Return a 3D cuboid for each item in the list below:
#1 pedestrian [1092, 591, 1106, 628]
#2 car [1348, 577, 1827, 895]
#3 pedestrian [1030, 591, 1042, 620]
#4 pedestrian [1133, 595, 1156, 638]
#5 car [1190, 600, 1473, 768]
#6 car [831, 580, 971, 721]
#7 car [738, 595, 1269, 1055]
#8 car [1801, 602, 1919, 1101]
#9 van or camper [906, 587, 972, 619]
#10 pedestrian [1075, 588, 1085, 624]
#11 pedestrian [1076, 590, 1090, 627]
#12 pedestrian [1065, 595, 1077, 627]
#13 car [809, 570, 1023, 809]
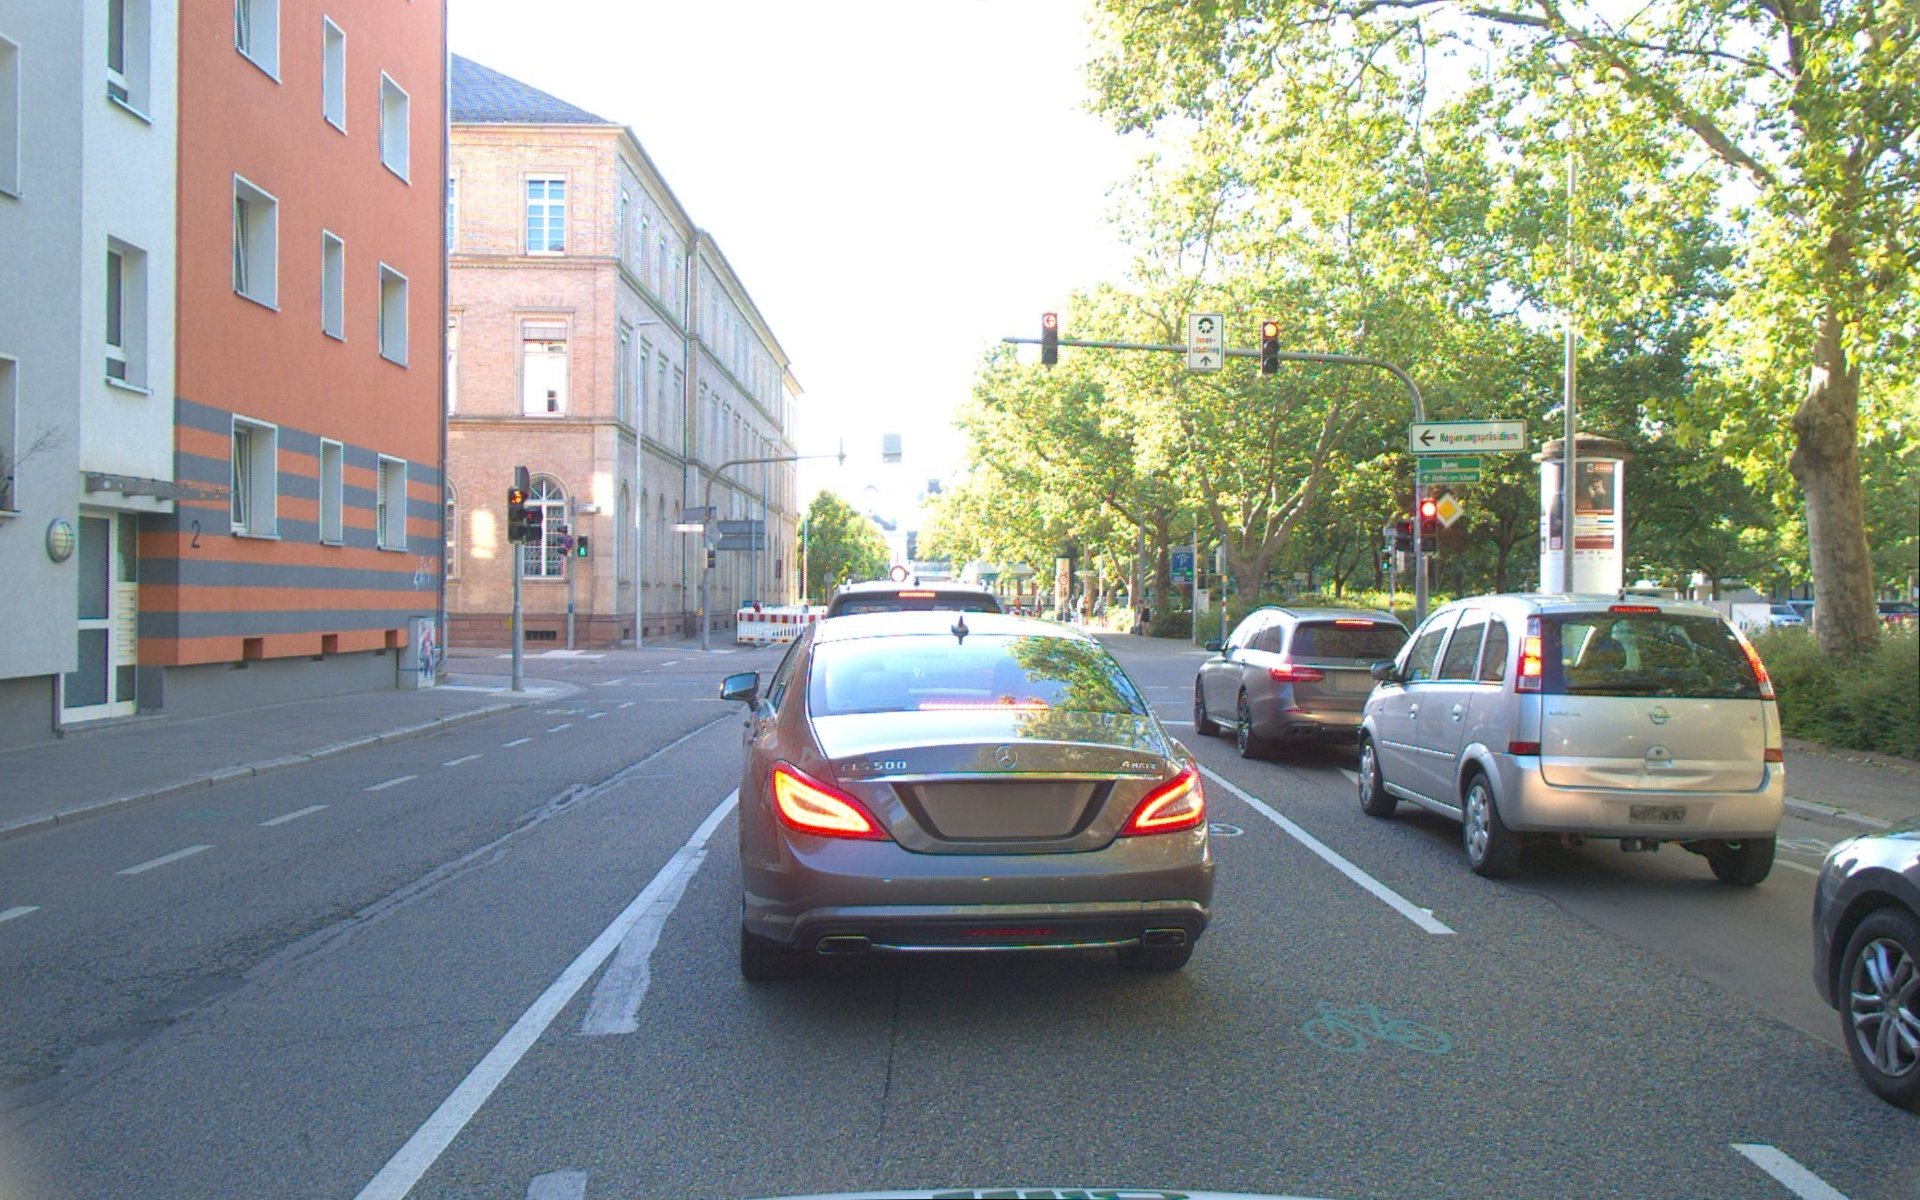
[{"bbox_3d":[6.949,0.477,82.706,0.591,1.853,0.651,1,0,-1],"label":"pedestrian"},{"bbox_3d":[3.796,0.717,10.747,1.666,1.631,3.860,2,0,1],"label":"car"},{"bbox_3d":[4.942,0.366,107.534,0.687,1.870,0.736,1,0,-3],"label":"pedestrian"},{"bbox_3d":[7.203,0.643,64.589,0.813,1.634,0.651,1,0,-1],"label":"pedestrian"},{"bbox_3d":[3.748,0.775,17.575,1.874,1.490,4.668,1,0,-1],"label":"car"},{"bbox_3d":[-0.782,0.643,23.219,1.783,1.793,3.999,0,0,-1],"label":"car"},{"bbox_3d":[-0.123,0.732,7.633,1.769,1.482,4.343,1,0,-8],"label":"car"},{"bbox_3d":[3.749,0.793,3.724,1.611,1.508,3.975,2,0,-1],"label":"car"},{"bbox_3d":[-1.420,0.185,108.507,1.981,1.975,4.529,1,0,-39],"label":"van or camper"},{"bbox_3d":[6.783,0.350,93.359,0.528,2.049,0.473,1,-1,-1],"label":"pedestrian"},{"bbox_3d":[6.150,0.419,82.746,0.591,1.853,0.651,1,0,-1],"label":"pedestrian"},{"bbox_3d":[6.489,0.622,96.881,0.599,1.853,0.932,1,0,-1],"label":"pedestrian"},{"bbox_3d":[-0.401,0.629,13.620,1.487,1.675,3.878,1,0,-3],"label":"car"}]
